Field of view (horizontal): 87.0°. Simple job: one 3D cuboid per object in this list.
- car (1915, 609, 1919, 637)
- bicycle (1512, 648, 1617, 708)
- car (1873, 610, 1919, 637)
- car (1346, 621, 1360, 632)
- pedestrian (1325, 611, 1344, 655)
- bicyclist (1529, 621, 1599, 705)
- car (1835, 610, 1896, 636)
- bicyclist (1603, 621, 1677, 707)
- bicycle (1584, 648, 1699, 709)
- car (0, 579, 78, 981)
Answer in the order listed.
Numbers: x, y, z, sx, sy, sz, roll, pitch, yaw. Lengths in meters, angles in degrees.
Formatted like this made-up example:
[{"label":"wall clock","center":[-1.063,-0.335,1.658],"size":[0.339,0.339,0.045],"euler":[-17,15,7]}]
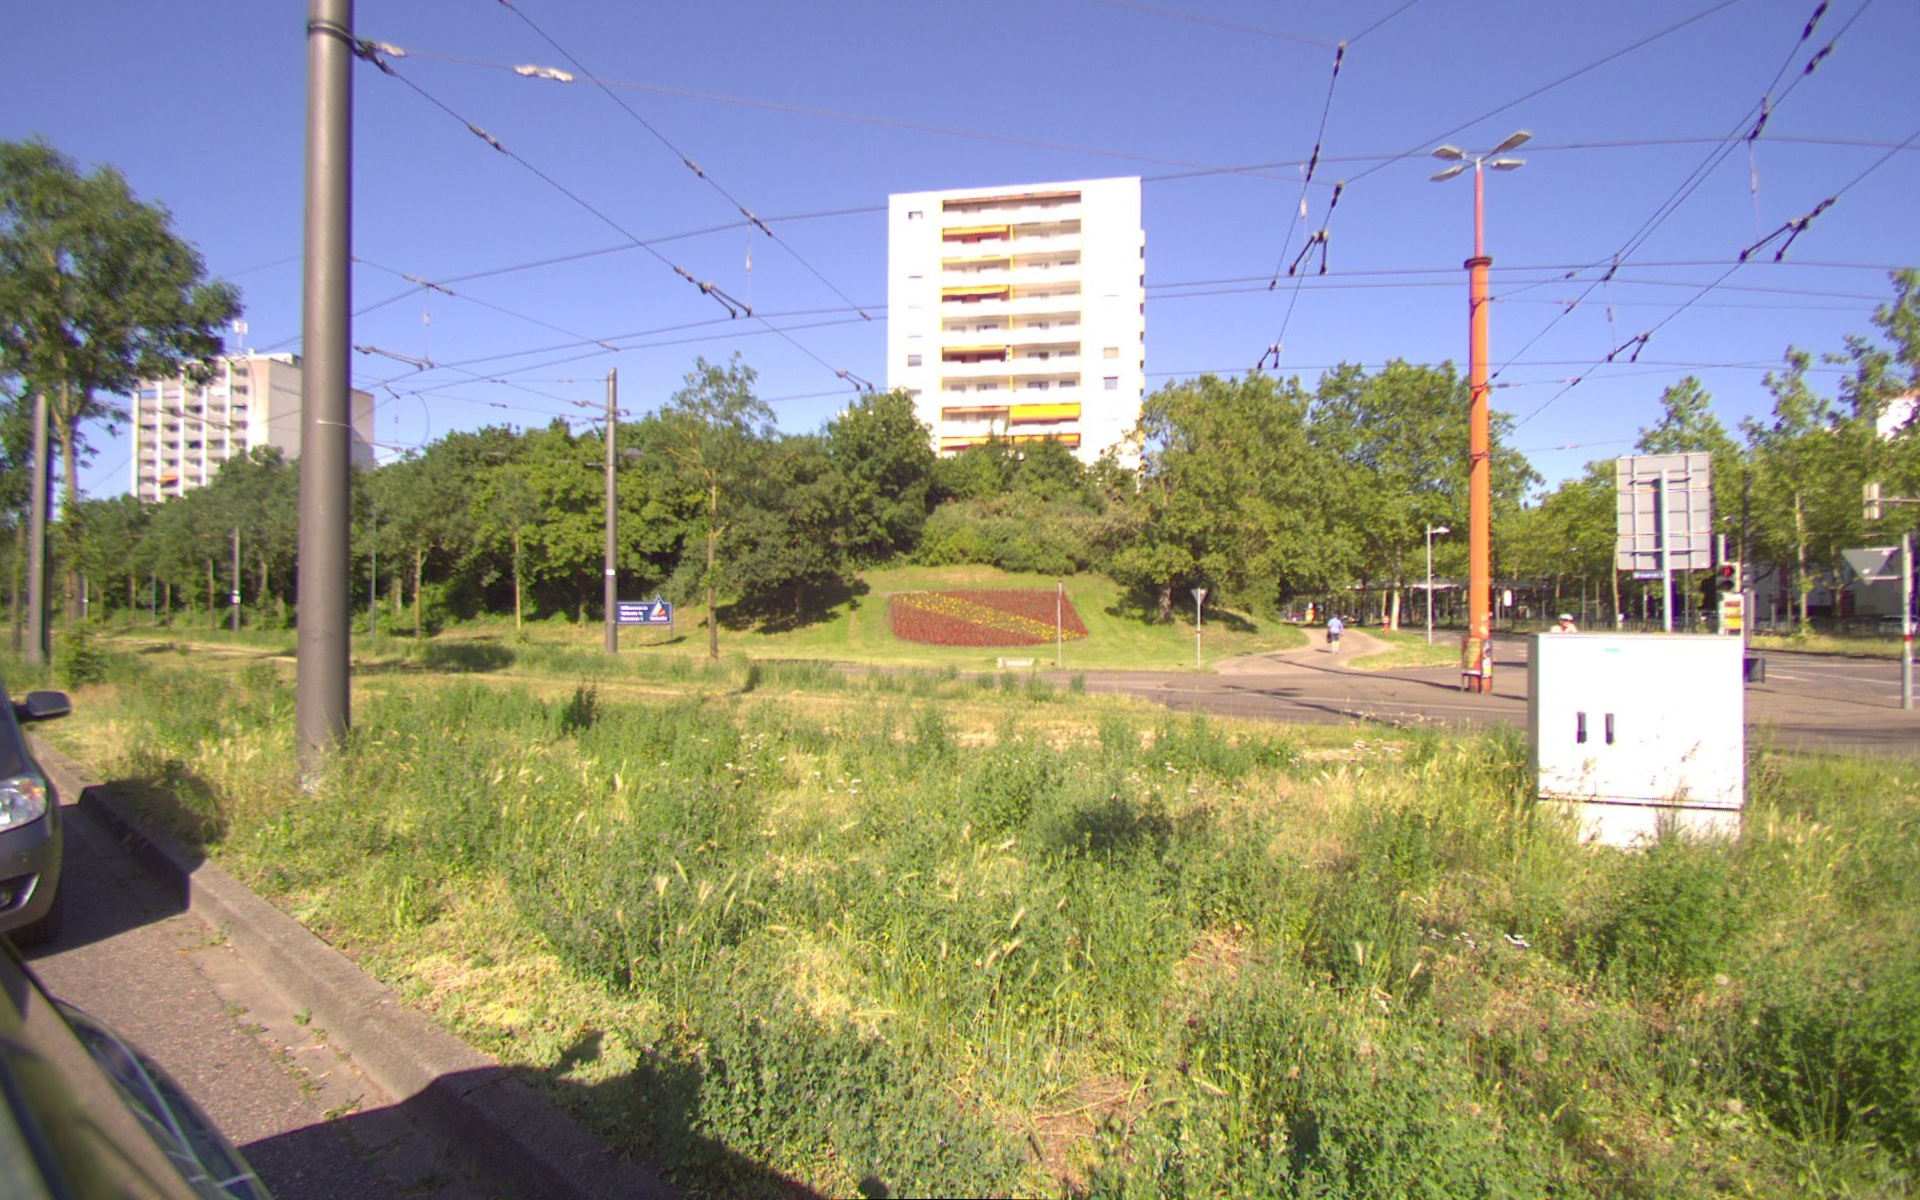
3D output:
[{"label":"car","center":[64.400,1.501,65.904],"size":[3.931,1.829,2.006],"euler":[0,-2,-27]},{"label":"bicycle","center":[12.088,1.532,20.317],"size":[0.915,1.095,1.888],"euler":[0,-1,-2]},{"label":"car","center":[65.243,1.639,69.867],"size":[3.931,1.829,2.006],"euler":[0,-2,-27]},{"label":"car","center":[62.860,4.244,161.899],"size":[1.928,1.606,3.882],"euler":[-1,-1,20]},{"label":"pedestrian","center":[16.711,1.463,45.185],"size":[0.729,1.949,0.726],"euler":[-1,-2,24]},{"label":"bicyclist","center":[12.093,1.255,20.300],"size":[0.920,1.650,0.741],"euler":[0,-1,-1]},{"label":"car","center":[66.010,1.695,73.763],"size":[3.931,1.829,2.006],"euler":[0,-2,-27]},{"label":"bicyclist","center":[13.350,1.237,19.881],"size":[0.920,1.650,0.741],"euler":[0,-1,-1]},{"label":"bicycle","center":[13.354,1.517,19.915],"size":[0.915,1.095,1.888],"euler":[0,-1,-2]},{"label":"car","center":[-5.943,0.751,5.041],"size":[4.382,1.619,1.754],"euler":[-1,-2,41]}]
